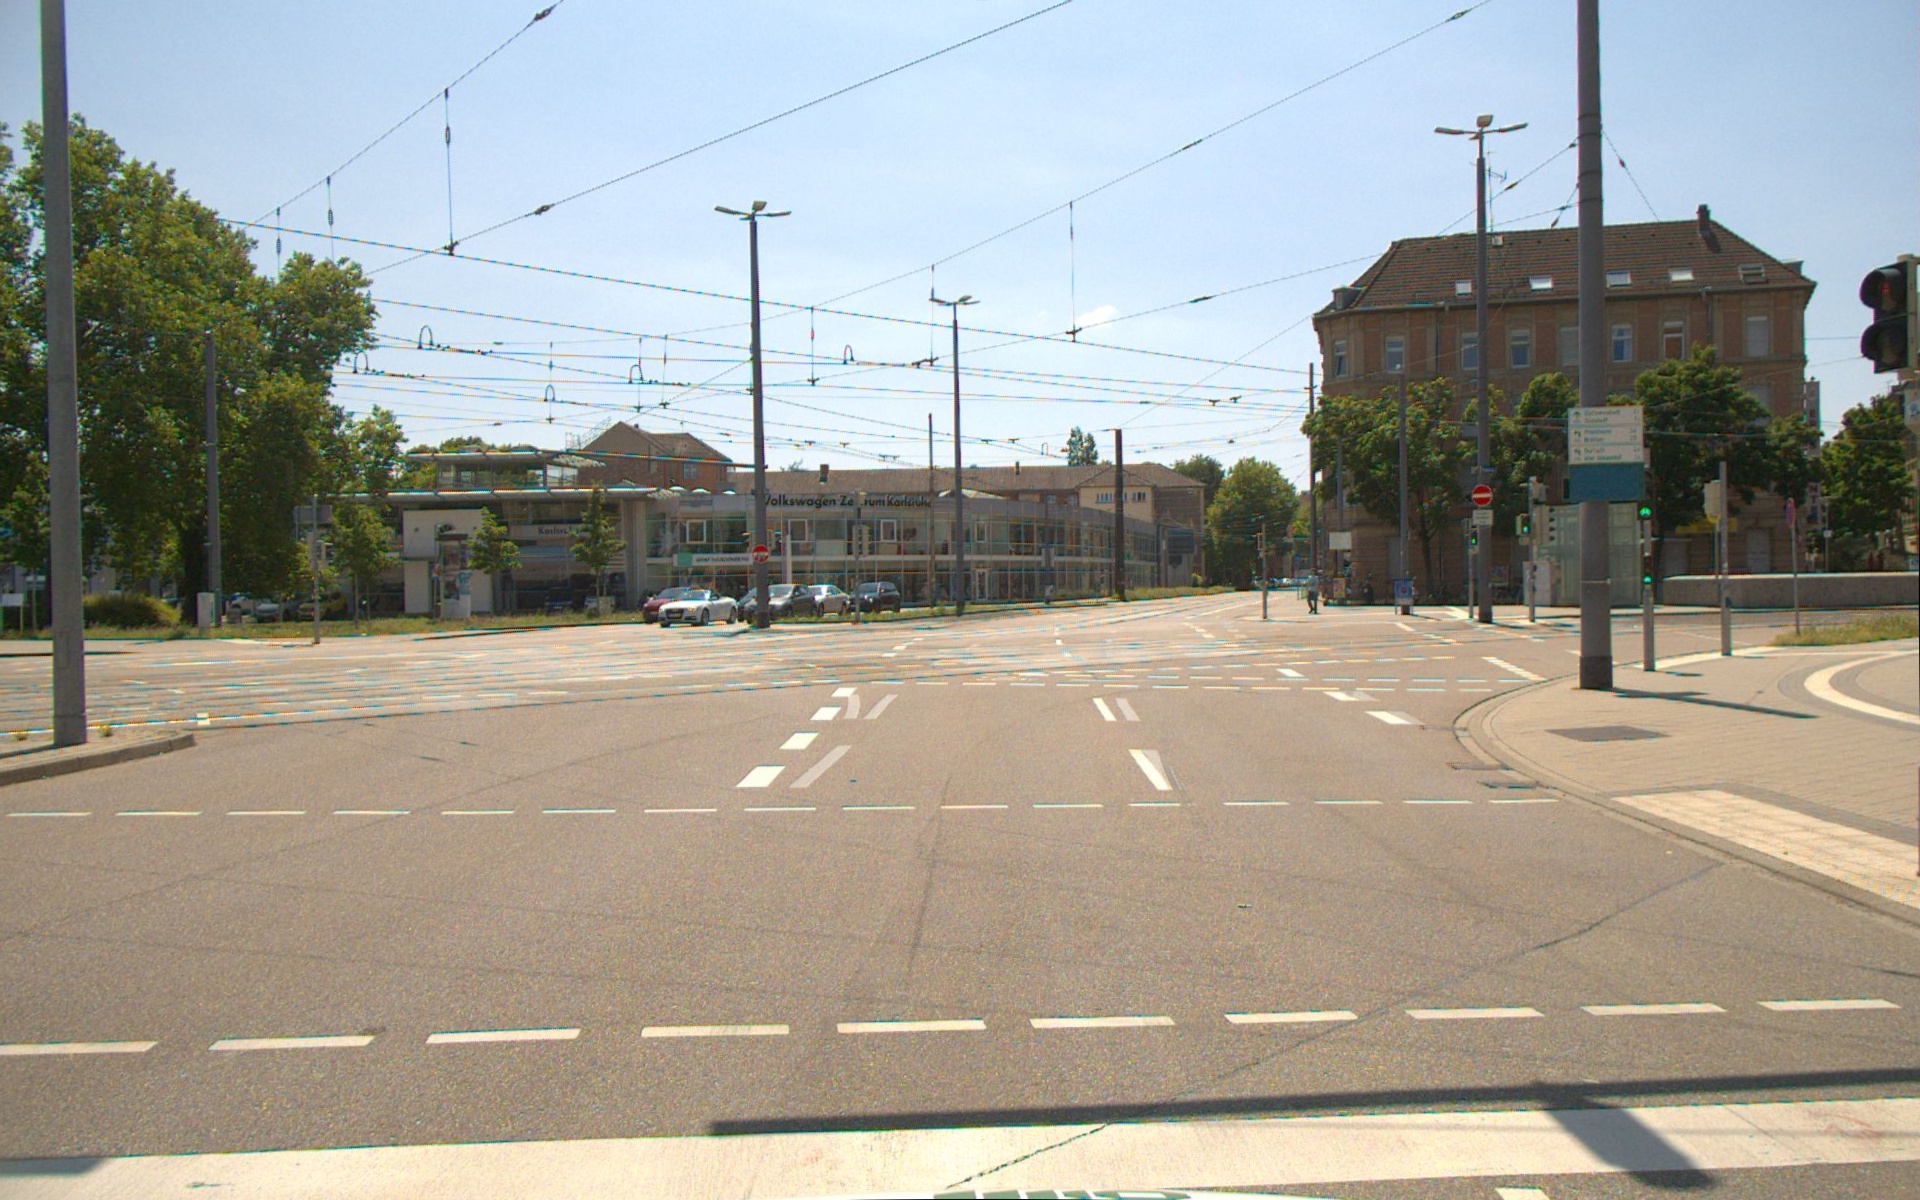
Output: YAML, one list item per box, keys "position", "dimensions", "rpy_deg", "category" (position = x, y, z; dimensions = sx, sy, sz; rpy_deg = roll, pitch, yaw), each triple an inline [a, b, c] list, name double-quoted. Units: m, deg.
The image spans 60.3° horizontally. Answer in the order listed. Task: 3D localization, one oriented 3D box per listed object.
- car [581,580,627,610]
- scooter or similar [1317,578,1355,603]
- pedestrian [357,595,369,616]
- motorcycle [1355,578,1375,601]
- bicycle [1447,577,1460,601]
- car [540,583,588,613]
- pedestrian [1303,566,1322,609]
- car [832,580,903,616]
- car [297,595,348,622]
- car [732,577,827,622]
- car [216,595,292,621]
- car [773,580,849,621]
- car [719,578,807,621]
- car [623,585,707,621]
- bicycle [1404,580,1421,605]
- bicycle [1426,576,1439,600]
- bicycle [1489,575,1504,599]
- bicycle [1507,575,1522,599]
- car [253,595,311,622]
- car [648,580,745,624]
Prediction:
- position: [-21.431, -0.281, 99.703]
  dimensions: [1.881, 1.737, 4.000]
  rpy_deg: [1, 0, 0]
  category: "car"
- position: [18.626, -0.458, 81.906]
  dimensions: [1.755, 1.202, 0.598]
  rpy_deg: [-1, 0, -12]
  category: "scooter or similar"
- position: [-35.071, 0.333, 97.195]
  dimensions: [0.502, 1.225, 0.446]
  rpy_deg: [-1, 0, 5]
  category: "pedestrian"
- position: [19.430, -0.494, 79.377]
  dimensions: [0.568, 1.093, 1.947]
  rpy_deg: [-1, 0, 3]
  category: "motorcycle"
- position: [23.503, -0.527, 78.770]
  dimensions: [0.539, 1.139, 1.822]
  rpy_deg: [-1, 0, 15]
  category: "bicycle"
- position: [-23.837, -0.122, 99.674]
  dimensions: [1.881, 1.737, 4.000]
  rpy_deg: [1, 0, 0]
  category: "car"
- position: [14.171, -0.500, 66.513]
  dimensions: [0.453, 1.738, 0.637]
  rpy_deg: [-1, 0, -16]
  category: "pedestrian"
- position: [-4.595, -0.121, 83.037]
  dimensions: [2.034, 1.712, 4.850]
  rpy_deg: [-1, 1, 16]
  category: "car"
- position: [-38.718, 0.505, 100.552]
  dimensions: [1.732, 1.536, 4.322]
  rpy_deg: [-1, 1, -5]
  category: "car"
- position: [-6.967, -0.059, 64.373]
  dimensions: [1.951, 1.666, 4.850]
  rpy_deg: [-1, 1, 16]
  category: "car"
- position: [-45.400, 0.505, 106.376]
  dimensions: [4.279, 1.536, 1.750]
  rpy_deg: [-1, 1, -36]
  category: "car"
- position: [-6.804, -0.010, 76.146]
  dimensions: [1.951, 1.770, 4.546]
  rpy_deg: [-1, 1, 16]
  category: "car"
- position: [-8.309, -0.047, 70.181]
  dimensions: [1.951, 1.730, 4.850]
  rpy_deg: [-1, 1, 16]
  category: "car"
- position: [-13.098, 0.125, 73.827]
  dimensions: [1.951, 1.491, 4.850]
  rpy_deg: [-1, 1, 13]
  category: "car"
- position: [21.671, -0.368, 79.202]
  dimensions: [0.433, 1.166, 2.095]
  rpy_deg: [1, 0, 6]
  category: "bicycle"
- position: [22.536, -0.581, 78.849]
  dimensions: [0.539, 1.139, 1.822]
  rpy_deg: [-1, 0, 15]
  category: "bicycle"
- position: [25.595, -0.625, 78.914]
  dimensions: [0.539, 1.139, 1.872]
  rpy_deg: [-1, 0, 15]
  category: "bicycle"
- position: [26.550, -0.628, 79.154]
  dimensions: [0.539, 1.139, 1.931]
  rpy_deg: [-1, 0, 15]
  category: "bicycle"
- position: [-41.350, 0.497, 100.991]
  dimensions: [1.731, 1.536, 4.327]
  rpy_deg: [-1, 1, 0]
  category: "car"
- position: [-10.148, 0.039, 64.013]
  dimensions: [2.032, 1.607, 4.850]
  rpy_deg: [-1, 1, 13]
  category: "car"
